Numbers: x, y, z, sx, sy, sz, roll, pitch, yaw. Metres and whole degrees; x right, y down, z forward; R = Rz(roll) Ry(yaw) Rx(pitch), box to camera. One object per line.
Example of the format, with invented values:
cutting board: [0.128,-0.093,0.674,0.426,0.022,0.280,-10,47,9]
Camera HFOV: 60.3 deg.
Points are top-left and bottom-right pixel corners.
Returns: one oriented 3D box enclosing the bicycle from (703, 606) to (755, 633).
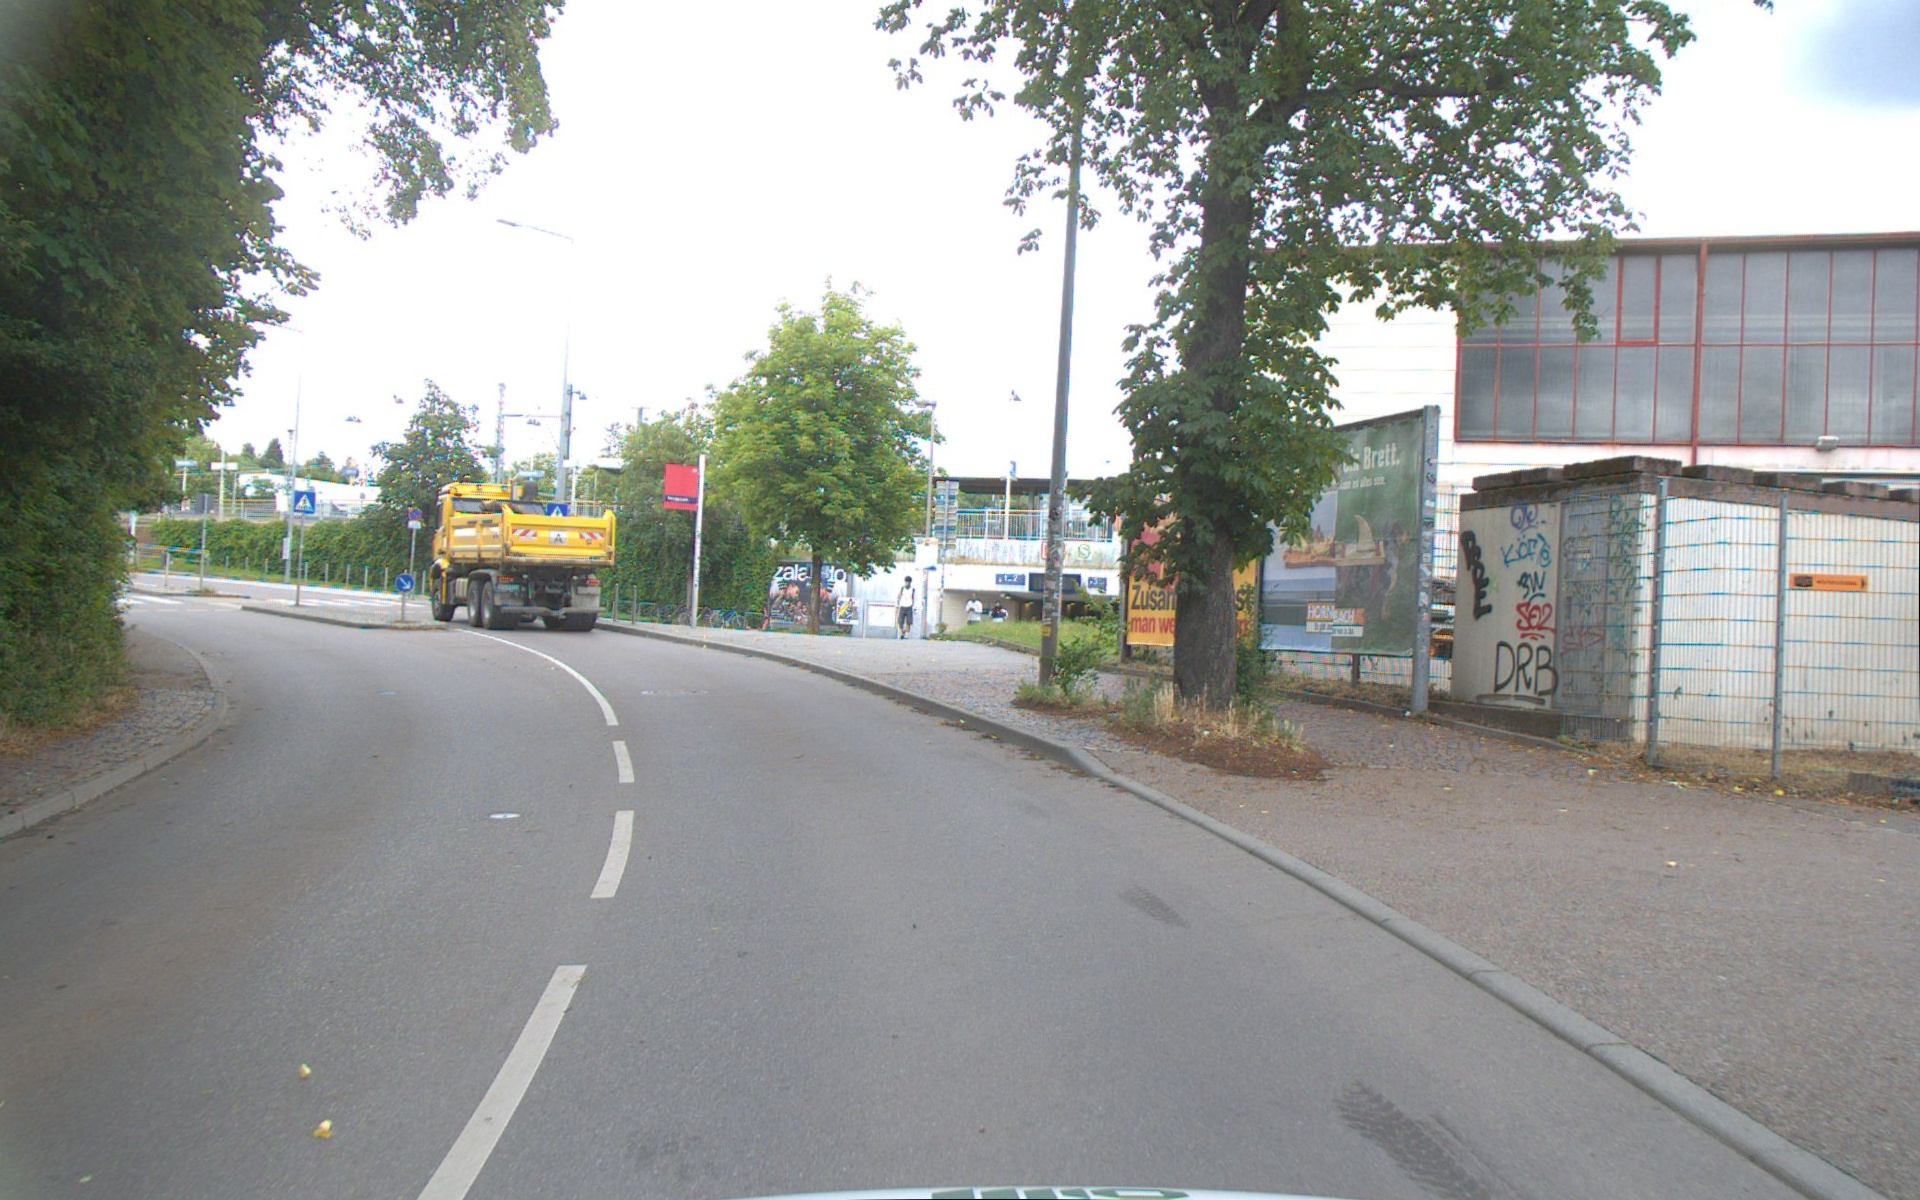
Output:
bicycle: [-9.128,0.773,65.375,1.950,0.880,0.505,7,-3,-36]

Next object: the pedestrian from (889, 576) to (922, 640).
pedestrian: [-1.476,0.228,44.813,0.830,1.714,0.940,1,-2,0]

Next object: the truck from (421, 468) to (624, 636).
truck: [-10.724,-1.221,39.893,2.734,3.543,8.053,3,1,-29]

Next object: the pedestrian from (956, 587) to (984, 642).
pedestrian: [0.336,0.472,53.789,0.797,1.732,0.749,2,-2,4]

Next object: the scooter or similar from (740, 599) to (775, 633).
scooter or similar: [-7.926,0.619,64.684,1.176,1.227,0.463,6,-2,-33]

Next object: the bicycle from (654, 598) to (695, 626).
bicycle: [-11.403,0.482,65.976,1.464,1.007,0.691,5,-1,-18]

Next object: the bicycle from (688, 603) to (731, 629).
bicycle: [-9.988,0.634,65.974,1.560,0.869,0.458,6,-2,-33]

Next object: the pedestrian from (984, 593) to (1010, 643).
pedestrian: [1.226,0.603,55.041,0.783,1.611,0.802,2,-2,4]
